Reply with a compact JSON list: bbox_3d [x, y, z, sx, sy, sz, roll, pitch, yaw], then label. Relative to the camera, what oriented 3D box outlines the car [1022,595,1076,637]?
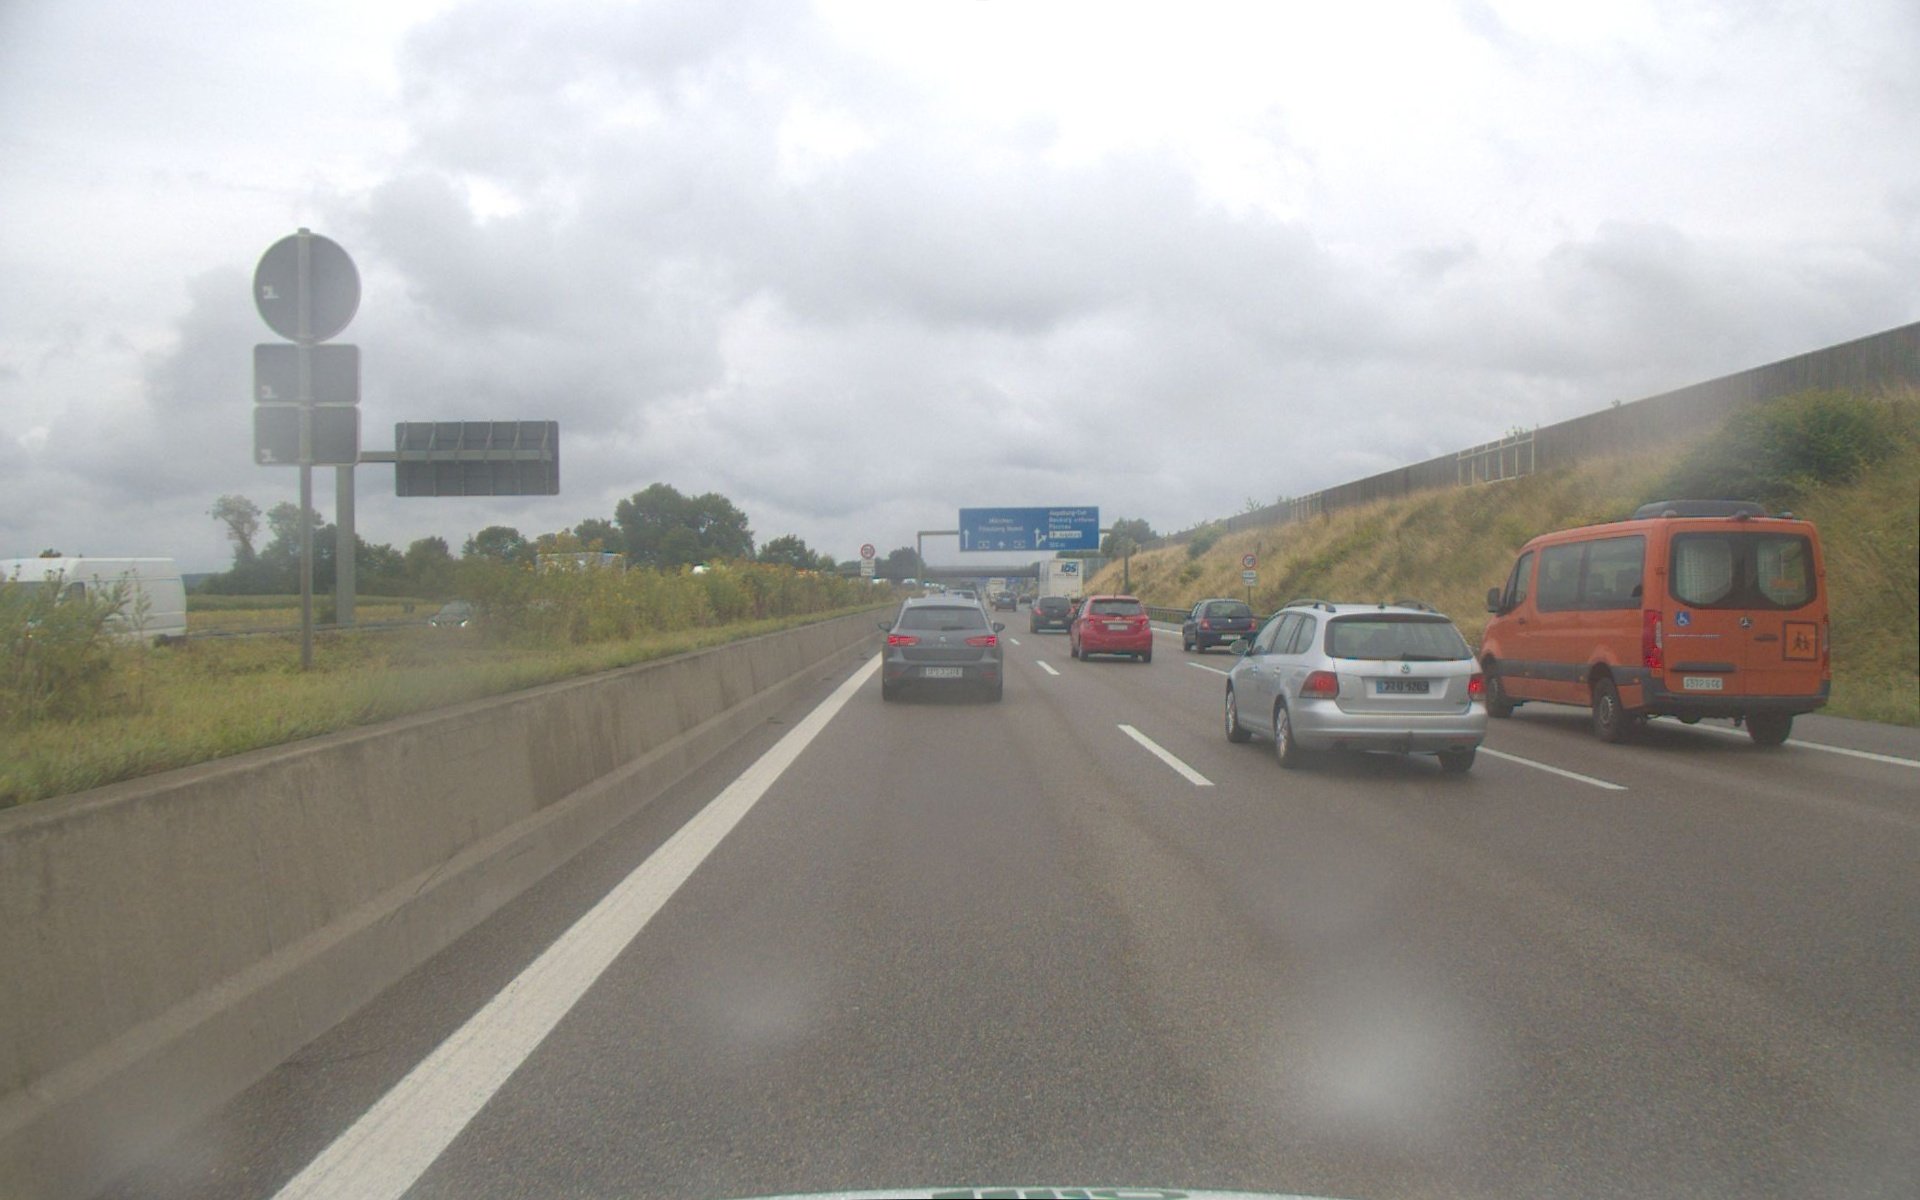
[{"bbox_3d":[3.442,0.586,64.807,1.881,1.548,4.622,0,0,0],"label":"car"}]

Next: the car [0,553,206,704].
[{"bbox_3d":[-17.191,0.482,31.830,2.199,2.574,6.905,1,0,0],"label":"car"}]

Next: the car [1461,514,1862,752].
[{"bbox_3d":[7.905,0.302,19.504,2.043,2.355,6.180,0,0,-1],"label":"car"}]

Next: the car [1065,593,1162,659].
[{"bbox_3d":[3.584,0.568,39.247,1.852,1.472,4.684,0,0,0],"label":"car"}]

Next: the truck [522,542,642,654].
[{"bbox_3d":[-16.999,-0.074,75.187,3.159,4.731,9.673,1,0,0],"label":"truck"}]

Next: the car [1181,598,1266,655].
[{"bbox_3d":[7.074,0.693,44.668,1.667,1.426,3.875,1,0,0],"label":"car"}]

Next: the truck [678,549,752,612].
[{"bbox_3d":[-16.573,-1.263,112.681,3.118,4.036,10.812,1,0,1],"label":"truck"}]

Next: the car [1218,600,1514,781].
[{"bbox_3d":[3.683,0.741,15.824,1.706,1.450,4.517,-1,0,0],"label":"car"}]

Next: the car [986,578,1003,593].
[{"bbox_3d":[4.624,-1.908,220.053,1.953,2.049,3.998,-1,0,-2],"label":"car"}]

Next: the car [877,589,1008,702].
[{"bbox_3d":[-0.257,0.617,24.218,1.732,1.493,3.999,1,0,-1],"label":"car"}]

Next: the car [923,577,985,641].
[{"bbox_3d":[-0.163,0.262,48.298,1.718,1.780,4.000,1,0,0],"label":"car"}]

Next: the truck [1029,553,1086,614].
[{"bbox_3d":[7.521,-1.193,130.444,3.216,4.370,19.031,1,0,0],"label":"truck"}]

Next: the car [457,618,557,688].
[{"bbox_3d":[-13.120,1.504,48.150,1.821,1.852,4.000,1,0,-1],"label":"car"}]

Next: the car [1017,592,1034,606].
[{"bbox_3d":[8.746,-0.145,222.259,1.953,1.892,4.389,0,0,-2],"label":"car"}]

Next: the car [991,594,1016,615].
[{"bbox_3d":[3.524,0.369,134.507,1.808,1.716,3.999,1,0,-1],"label":"car"}]

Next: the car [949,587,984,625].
[{"bbox_3d":[0.318,0.290,85.340,1.670,1.828,3.854,-2,0,-1],"label":"car"}]
